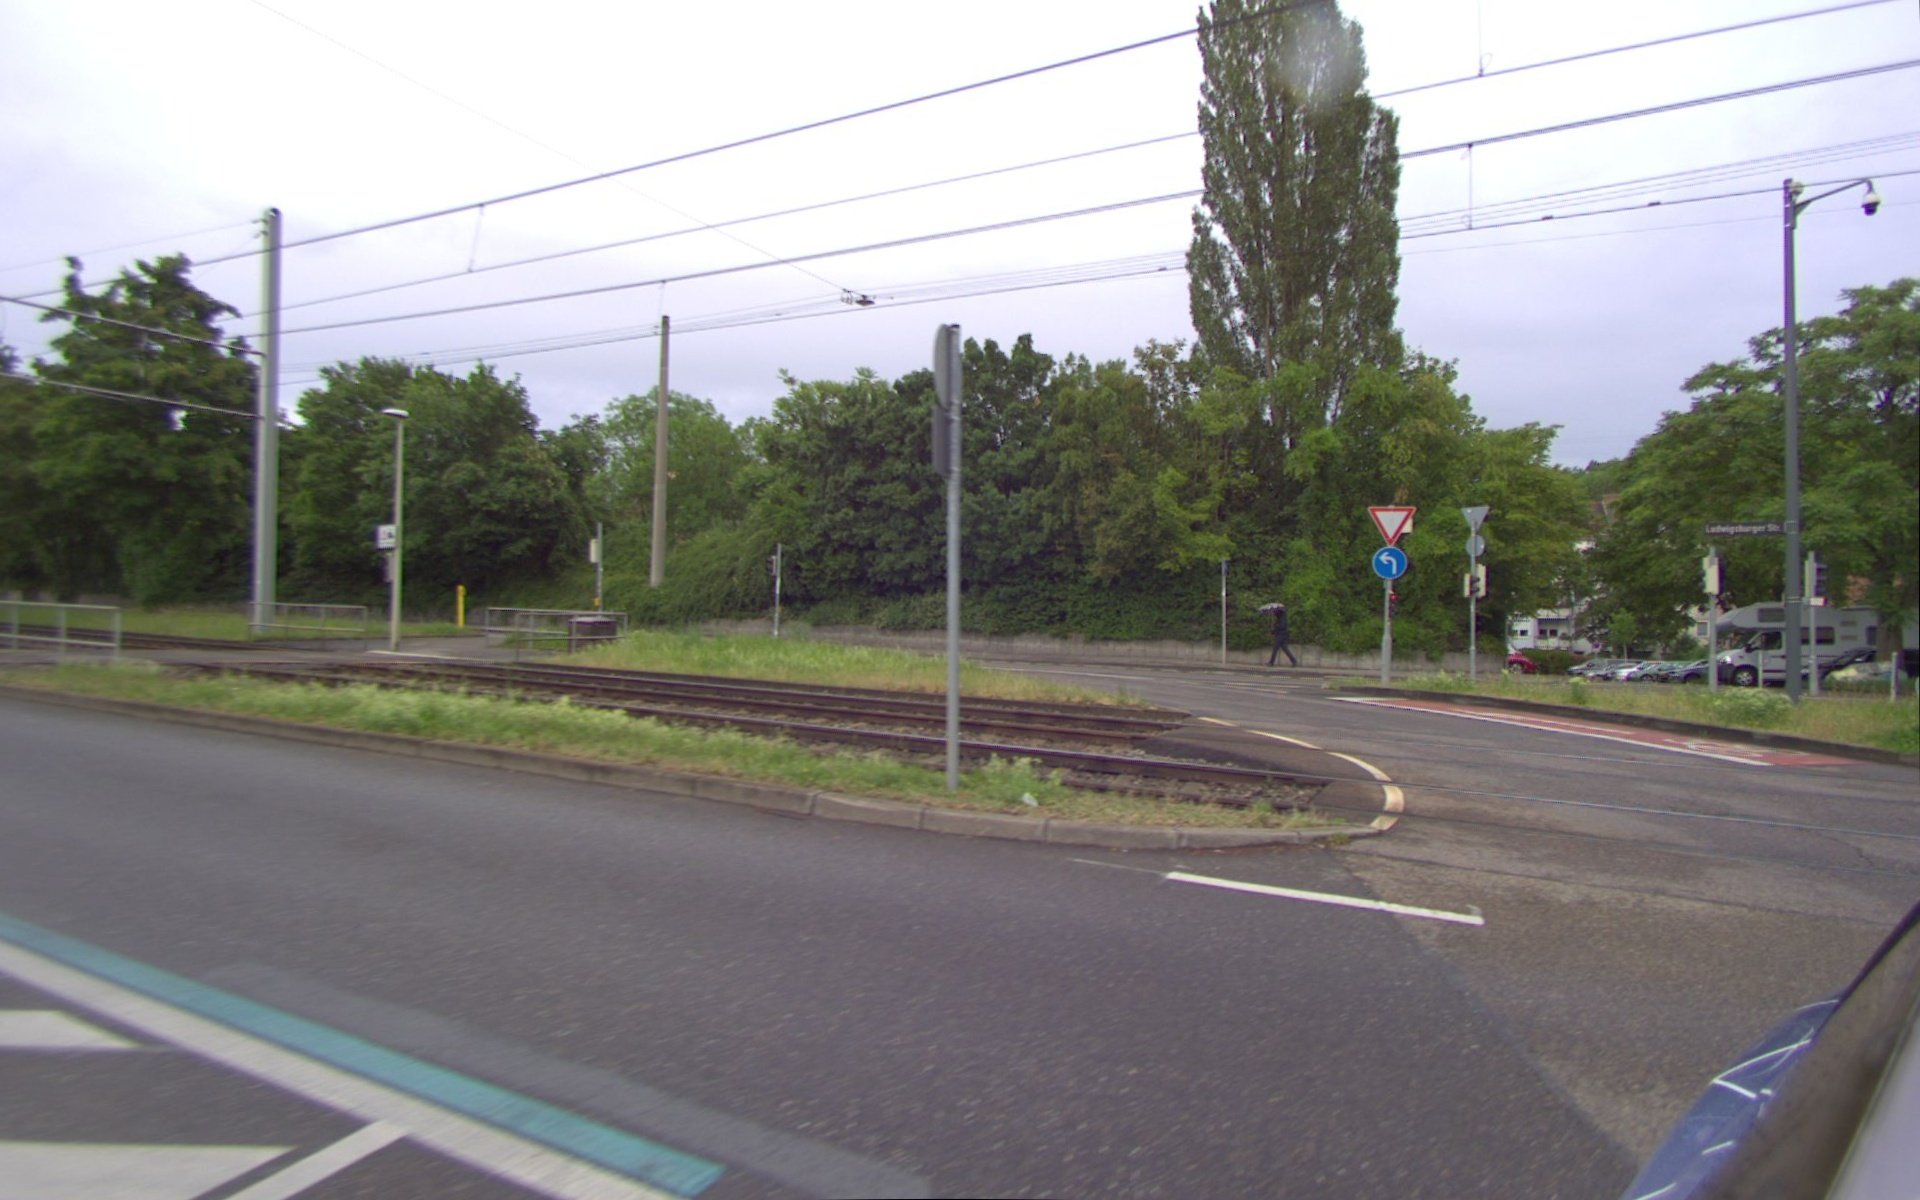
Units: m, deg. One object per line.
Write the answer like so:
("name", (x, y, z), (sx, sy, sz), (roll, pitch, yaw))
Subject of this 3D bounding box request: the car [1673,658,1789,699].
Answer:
("car", (35.689, 3.612, 46.964), (3.961, 1.568, 1.819), (2, -1, 27))

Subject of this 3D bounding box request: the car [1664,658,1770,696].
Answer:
("car", (37.953, 3.820, 50.833), (3.961, 1.568, 1.819), (2, -1, 27))

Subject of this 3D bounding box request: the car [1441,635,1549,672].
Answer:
("car", (22.959, 2.275, 43.609), (3.956, 1.371, 1.664), (2, -1, 24))

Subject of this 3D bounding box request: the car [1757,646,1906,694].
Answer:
("car", (33.141, 2.631, 38.630), (3.961, 1.568, 1.819), (2, -1, 27))

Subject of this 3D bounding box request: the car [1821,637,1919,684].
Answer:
("car", (30.490, 1.980, 32.879), (3.434, 1.371, 1.664), (2, -1, 24))

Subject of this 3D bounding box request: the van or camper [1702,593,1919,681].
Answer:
("van or camper", (30.522, 1.265, 35.909), (6.368, 2.790, 2.408), (2, -1, 26))

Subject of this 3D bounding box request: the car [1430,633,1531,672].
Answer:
("car", (23.563, 2.360, 45.965), (3.956, 1.568, 1.664), (2, -1, 24))

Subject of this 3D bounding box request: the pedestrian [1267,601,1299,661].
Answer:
("pedestrian", (8.931, 0.862, 27.961), (0.677, 1.628, 0.801), (-1, -4, 30))

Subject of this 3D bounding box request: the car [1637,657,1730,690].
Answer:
("car", (40.727, 4.109, 57.085), (3.961, 1.568, 1.819), (2, -1, 27))

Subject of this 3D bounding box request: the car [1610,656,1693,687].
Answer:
("car", (42.788, 4.402, 62.705), (3.961, 1.568, 1.819), (2, -1, 27))

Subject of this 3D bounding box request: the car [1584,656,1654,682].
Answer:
("car", (46.822, 4.866, 71.997), (3.961, 1.568, 1.819), (2, -1, 27))

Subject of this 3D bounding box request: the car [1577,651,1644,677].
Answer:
("car", (48.158, 4.746, 74.992), (3.961, 1.667, 1.819), (2, -1, 27))

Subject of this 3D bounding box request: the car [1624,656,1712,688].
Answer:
("car", (41.635, 4.216, 59.647), (3.961, 1.568, 1.819), (2, -1, 27))
